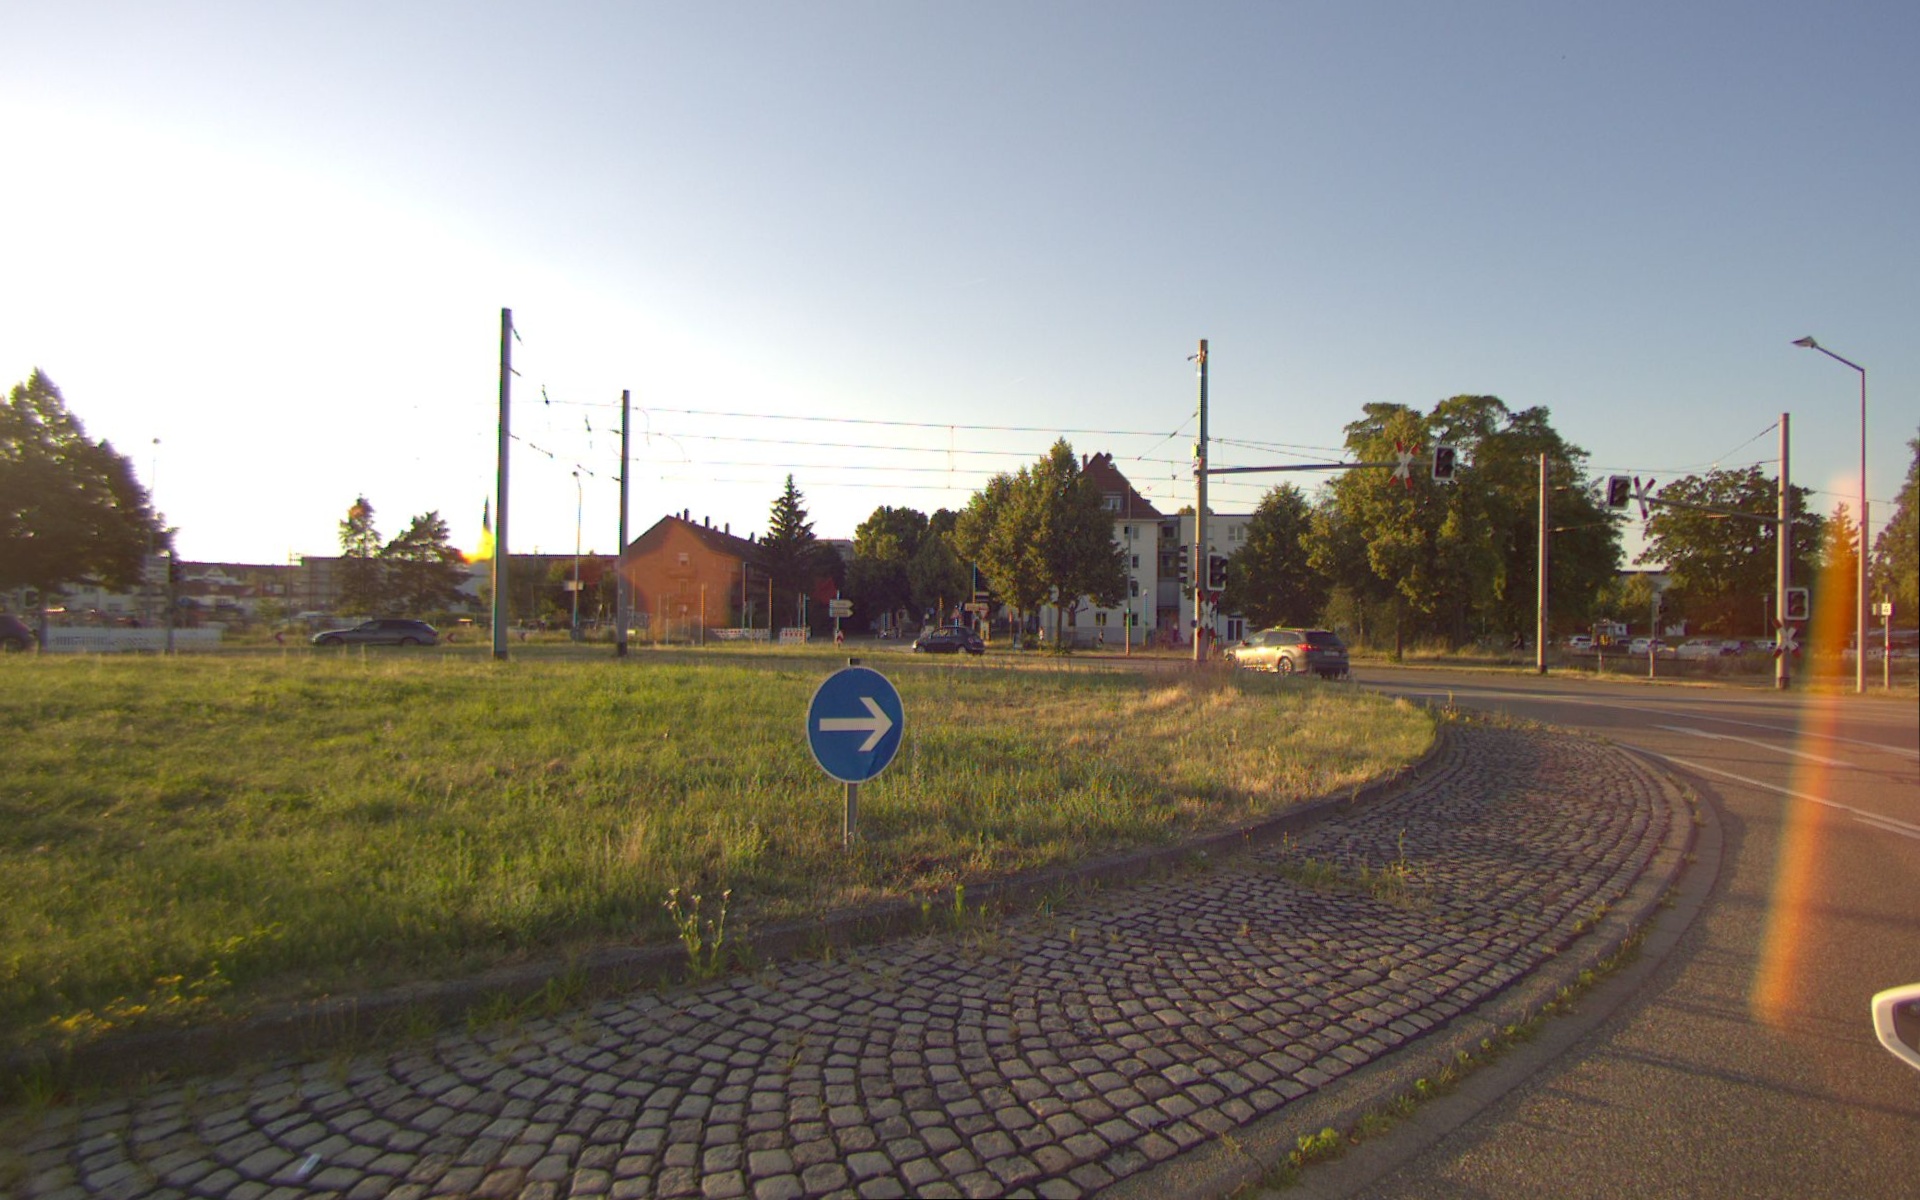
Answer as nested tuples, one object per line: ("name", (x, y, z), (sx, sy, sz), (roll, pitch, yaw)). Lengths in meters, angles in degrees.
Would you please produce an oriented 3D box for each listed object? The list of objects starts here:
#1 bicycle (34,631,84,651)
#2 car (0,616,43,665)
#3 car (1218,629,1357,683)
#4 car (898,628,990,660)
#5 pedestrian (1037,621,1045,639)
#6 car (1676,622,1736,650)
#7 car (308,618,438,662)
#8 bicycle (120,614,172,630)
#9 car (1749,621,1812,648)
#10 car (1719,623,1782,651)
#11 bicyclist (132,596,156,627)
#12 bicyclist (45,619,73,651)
("bicycle", (-46.722, 2.121, 52.102), (0.539, 0.993, 1.842), (0, -1, 26))
("car", (-35.716, 1.442, 35.700), (4.562, 1.771, 1.730), (1, -2, -42))
("car", (9.647, 1.607, 29.908), (1.726, 1.486, 4.114), (1, -1, -22))
("car", (-0.768, 2.056, 47.788), (4.062, 1.465, 1.748), (-1, -1, 31))
("pedestrian", (6.302, 2.319, 77.826), (0.538, 1.392, 0.357), (1, -1, -10))
("car", (60.083, 2.869, 81.004), (1.960, 2.126, 4.001), (1, -1, 2))
("car", (-24.722, 1.654, 42.479), (4.531, 1.771, 1.742), (1, -1, -23))
("bicycle", (-43.573, 1.176, 53.811), (2.102, 0.857, 0.510), (0, -1, -19))
("car", (66.085, 2.746, 80.985), (1.960, 2.126, 4.001), (1, -1, 2))
("car", (63.409, 2.934, 80.657), (1.960, 2.126, 4.001), (1, -1, 2))
("bicyclist", (-43.613, 0.634, 53.683), (0.786, 1.655, 0.693), (0, -1, -18))
("bicyclist", (-46.722, 1.813, 52.097), (0.800, 1.662, 0.814), (0, -1, 26))
